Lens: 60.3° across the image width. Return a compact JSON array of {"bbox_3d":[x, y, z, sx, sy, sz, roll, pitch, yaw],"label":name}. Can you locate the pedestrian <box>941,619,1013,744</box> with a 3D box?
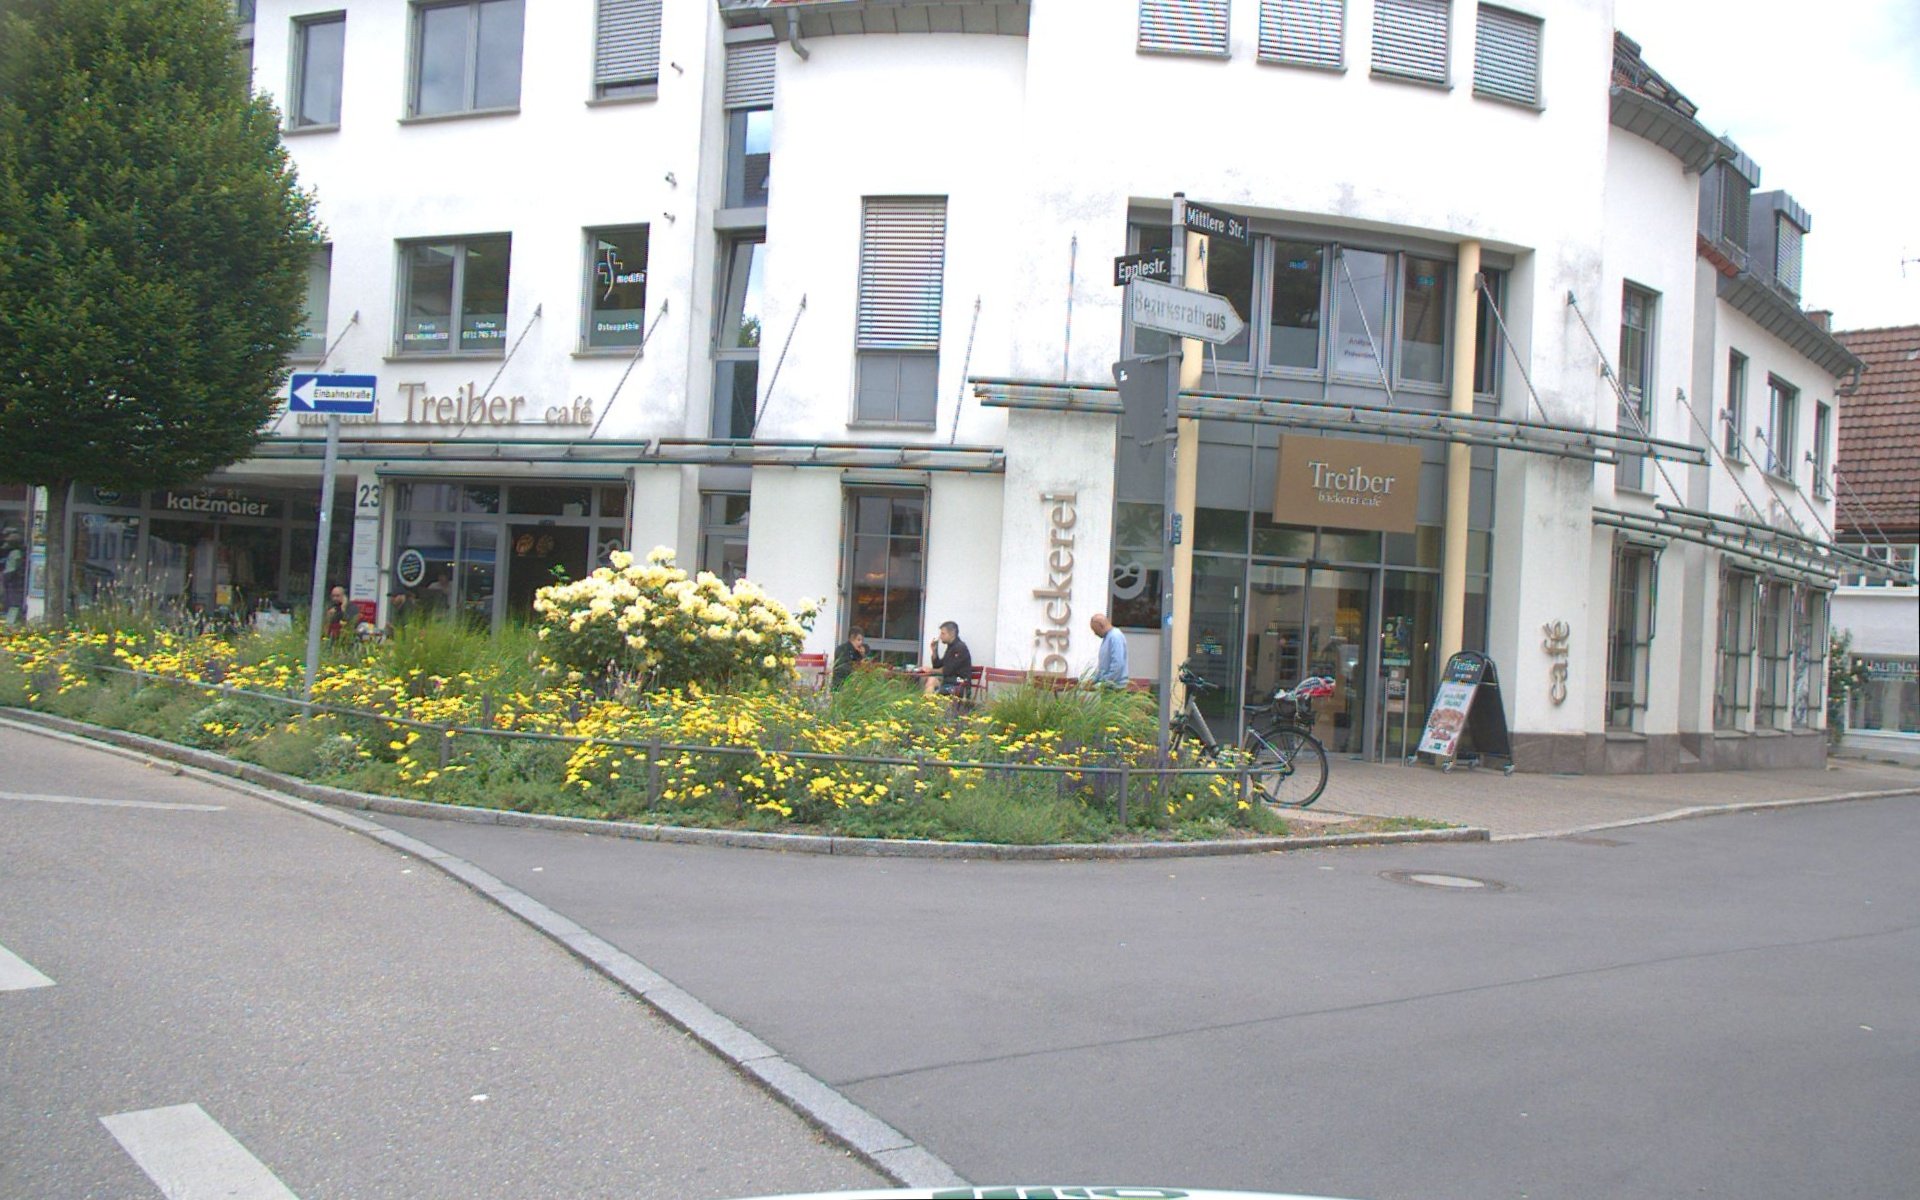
[{"bbox_3d":[0.201,0.913,18.888,0.641,1.365,0.696,3,-1,12],"label":"pedestrian"}]

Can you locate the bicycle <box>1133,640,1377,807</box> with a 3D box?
[{"bbox_3d":[2.589,1.046,14.530,1.935,1.261,0.743,4,0,24],"label":"bicycle"}]

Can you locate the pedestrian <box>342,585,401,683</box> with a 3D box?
[{"bbox_3d":[-7.942,0.458,22.334,0.480,1.293,0.501,3,-1,25],"label":"pedestrian"}]

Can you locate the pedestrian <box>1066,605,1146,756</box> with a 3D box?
[{"bbox_3d":[1.585,0.848,17.874,0.685,1.552,0.868,3,0,12],"label":"pedestrian"}]

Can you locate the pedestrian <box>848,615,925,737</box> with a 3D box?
[{"bbox_3d":[-0.846,0.869,19.206,0.685,1.355,0.685,3,-1,12],"label":"pedestrian"}]

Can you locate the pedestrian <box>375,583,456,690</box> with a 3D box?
[{"bbox_3d":[-7.145,0.484,21.723,0.555,1.340,0.764,3,-3,25],"label":"pedestrian"}]
